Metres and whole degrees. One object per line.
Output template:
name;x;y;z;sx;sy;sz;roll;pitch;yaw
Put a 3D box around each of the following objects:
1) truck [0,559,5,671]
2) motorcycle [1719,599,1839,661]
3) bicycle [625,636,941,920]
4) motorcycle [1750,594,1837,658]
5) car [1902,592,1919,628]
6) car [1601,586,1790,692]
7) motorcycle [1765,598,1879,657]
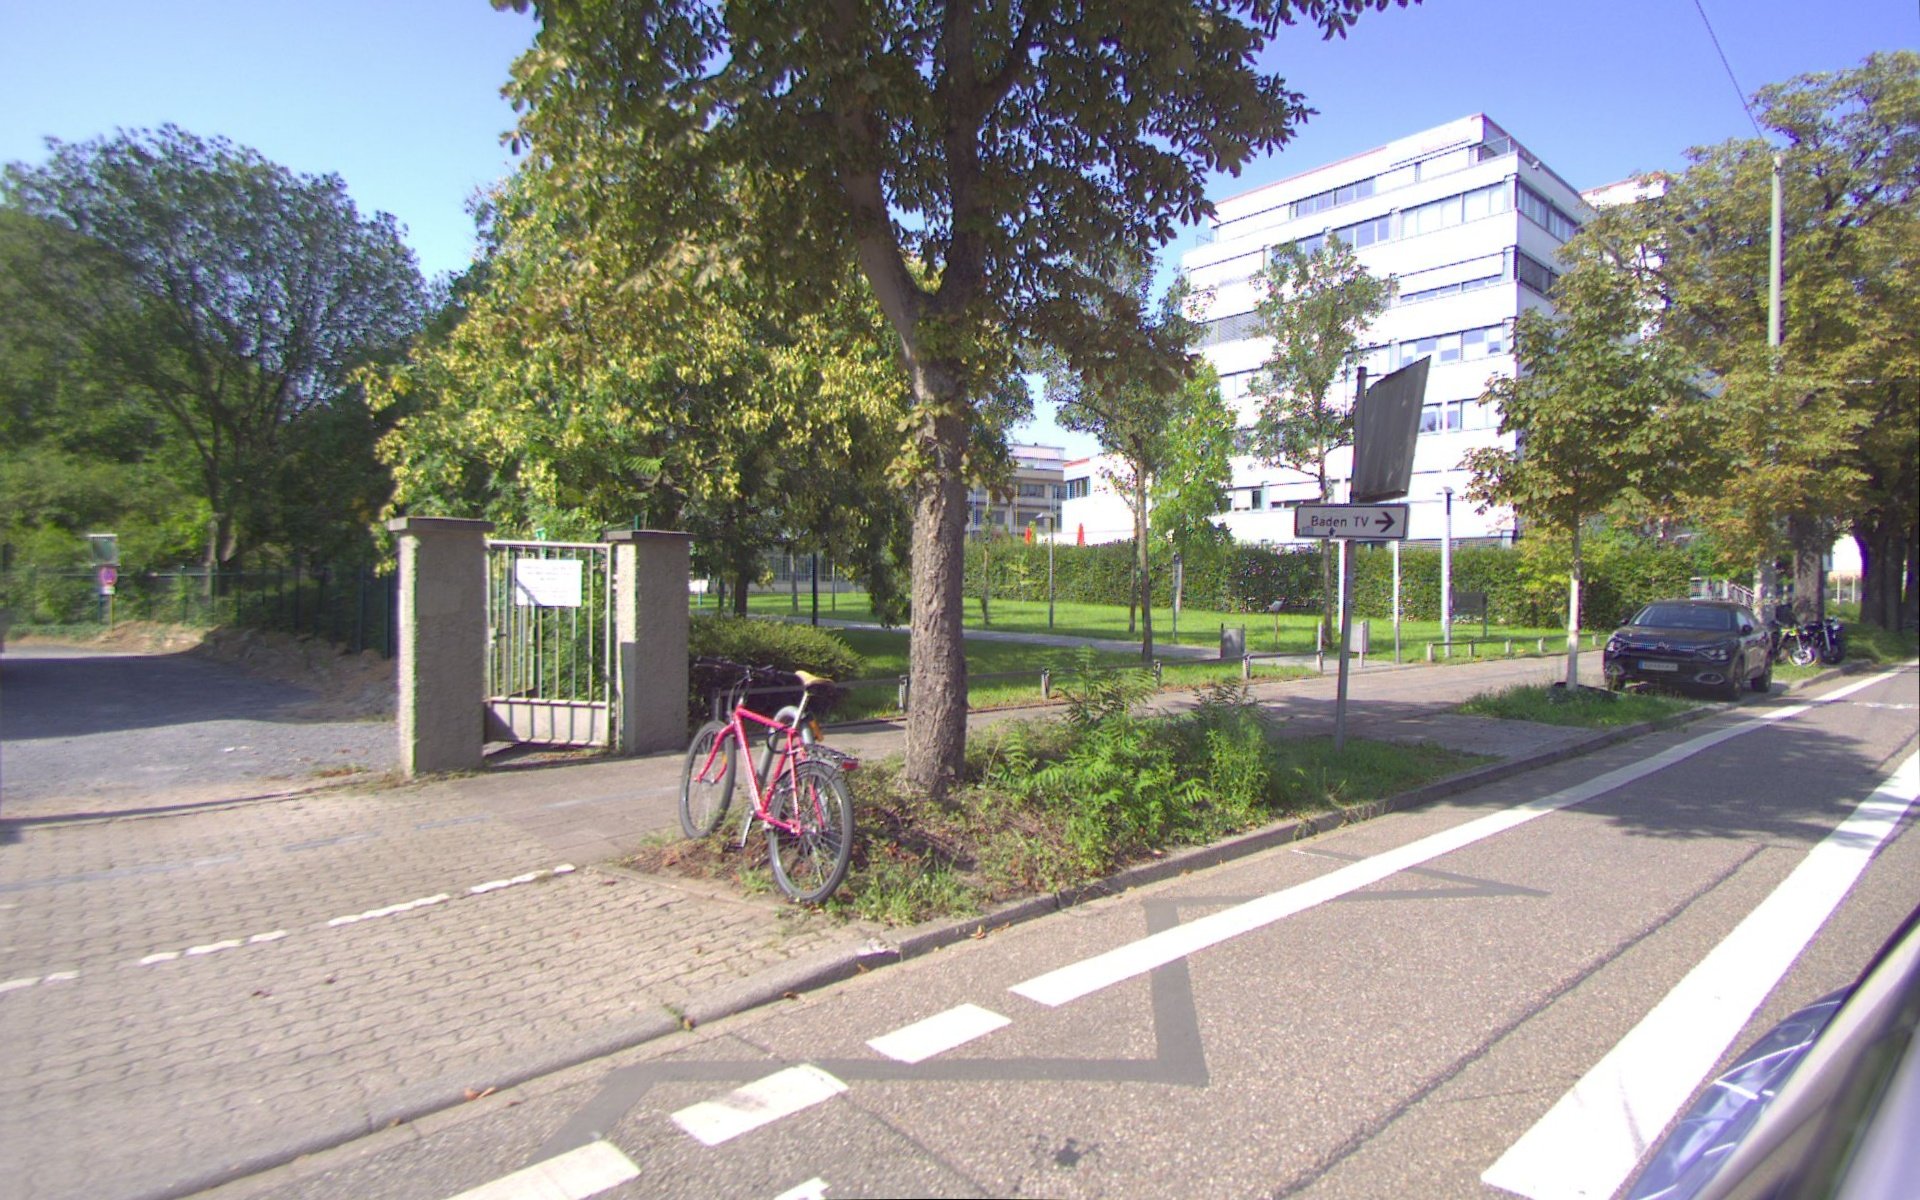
truck;-18.726;0.340;18.052;2.084;2.243;6.579;-1;1;-40
motorcycle;17.548;0.620;21.756;0.632;1.240;1.993;0;1;-16
bicycle;-0.985;0.802;5.276;0.783;1.077;1.771;-1;3;-43
motorcycle;19.120;0.562;23.270;0.834;1.343;2.054;2;2;19
car;41.420;0.424;43.167;3.506;1.459;1.564;-1;4;-44
car;12.397;0.557;16.947;4.362;1.504;1.743;0;2;-43
motorcycle;20.344;0.618;23.953;0.828;1.258;2.069;1;2;-3
